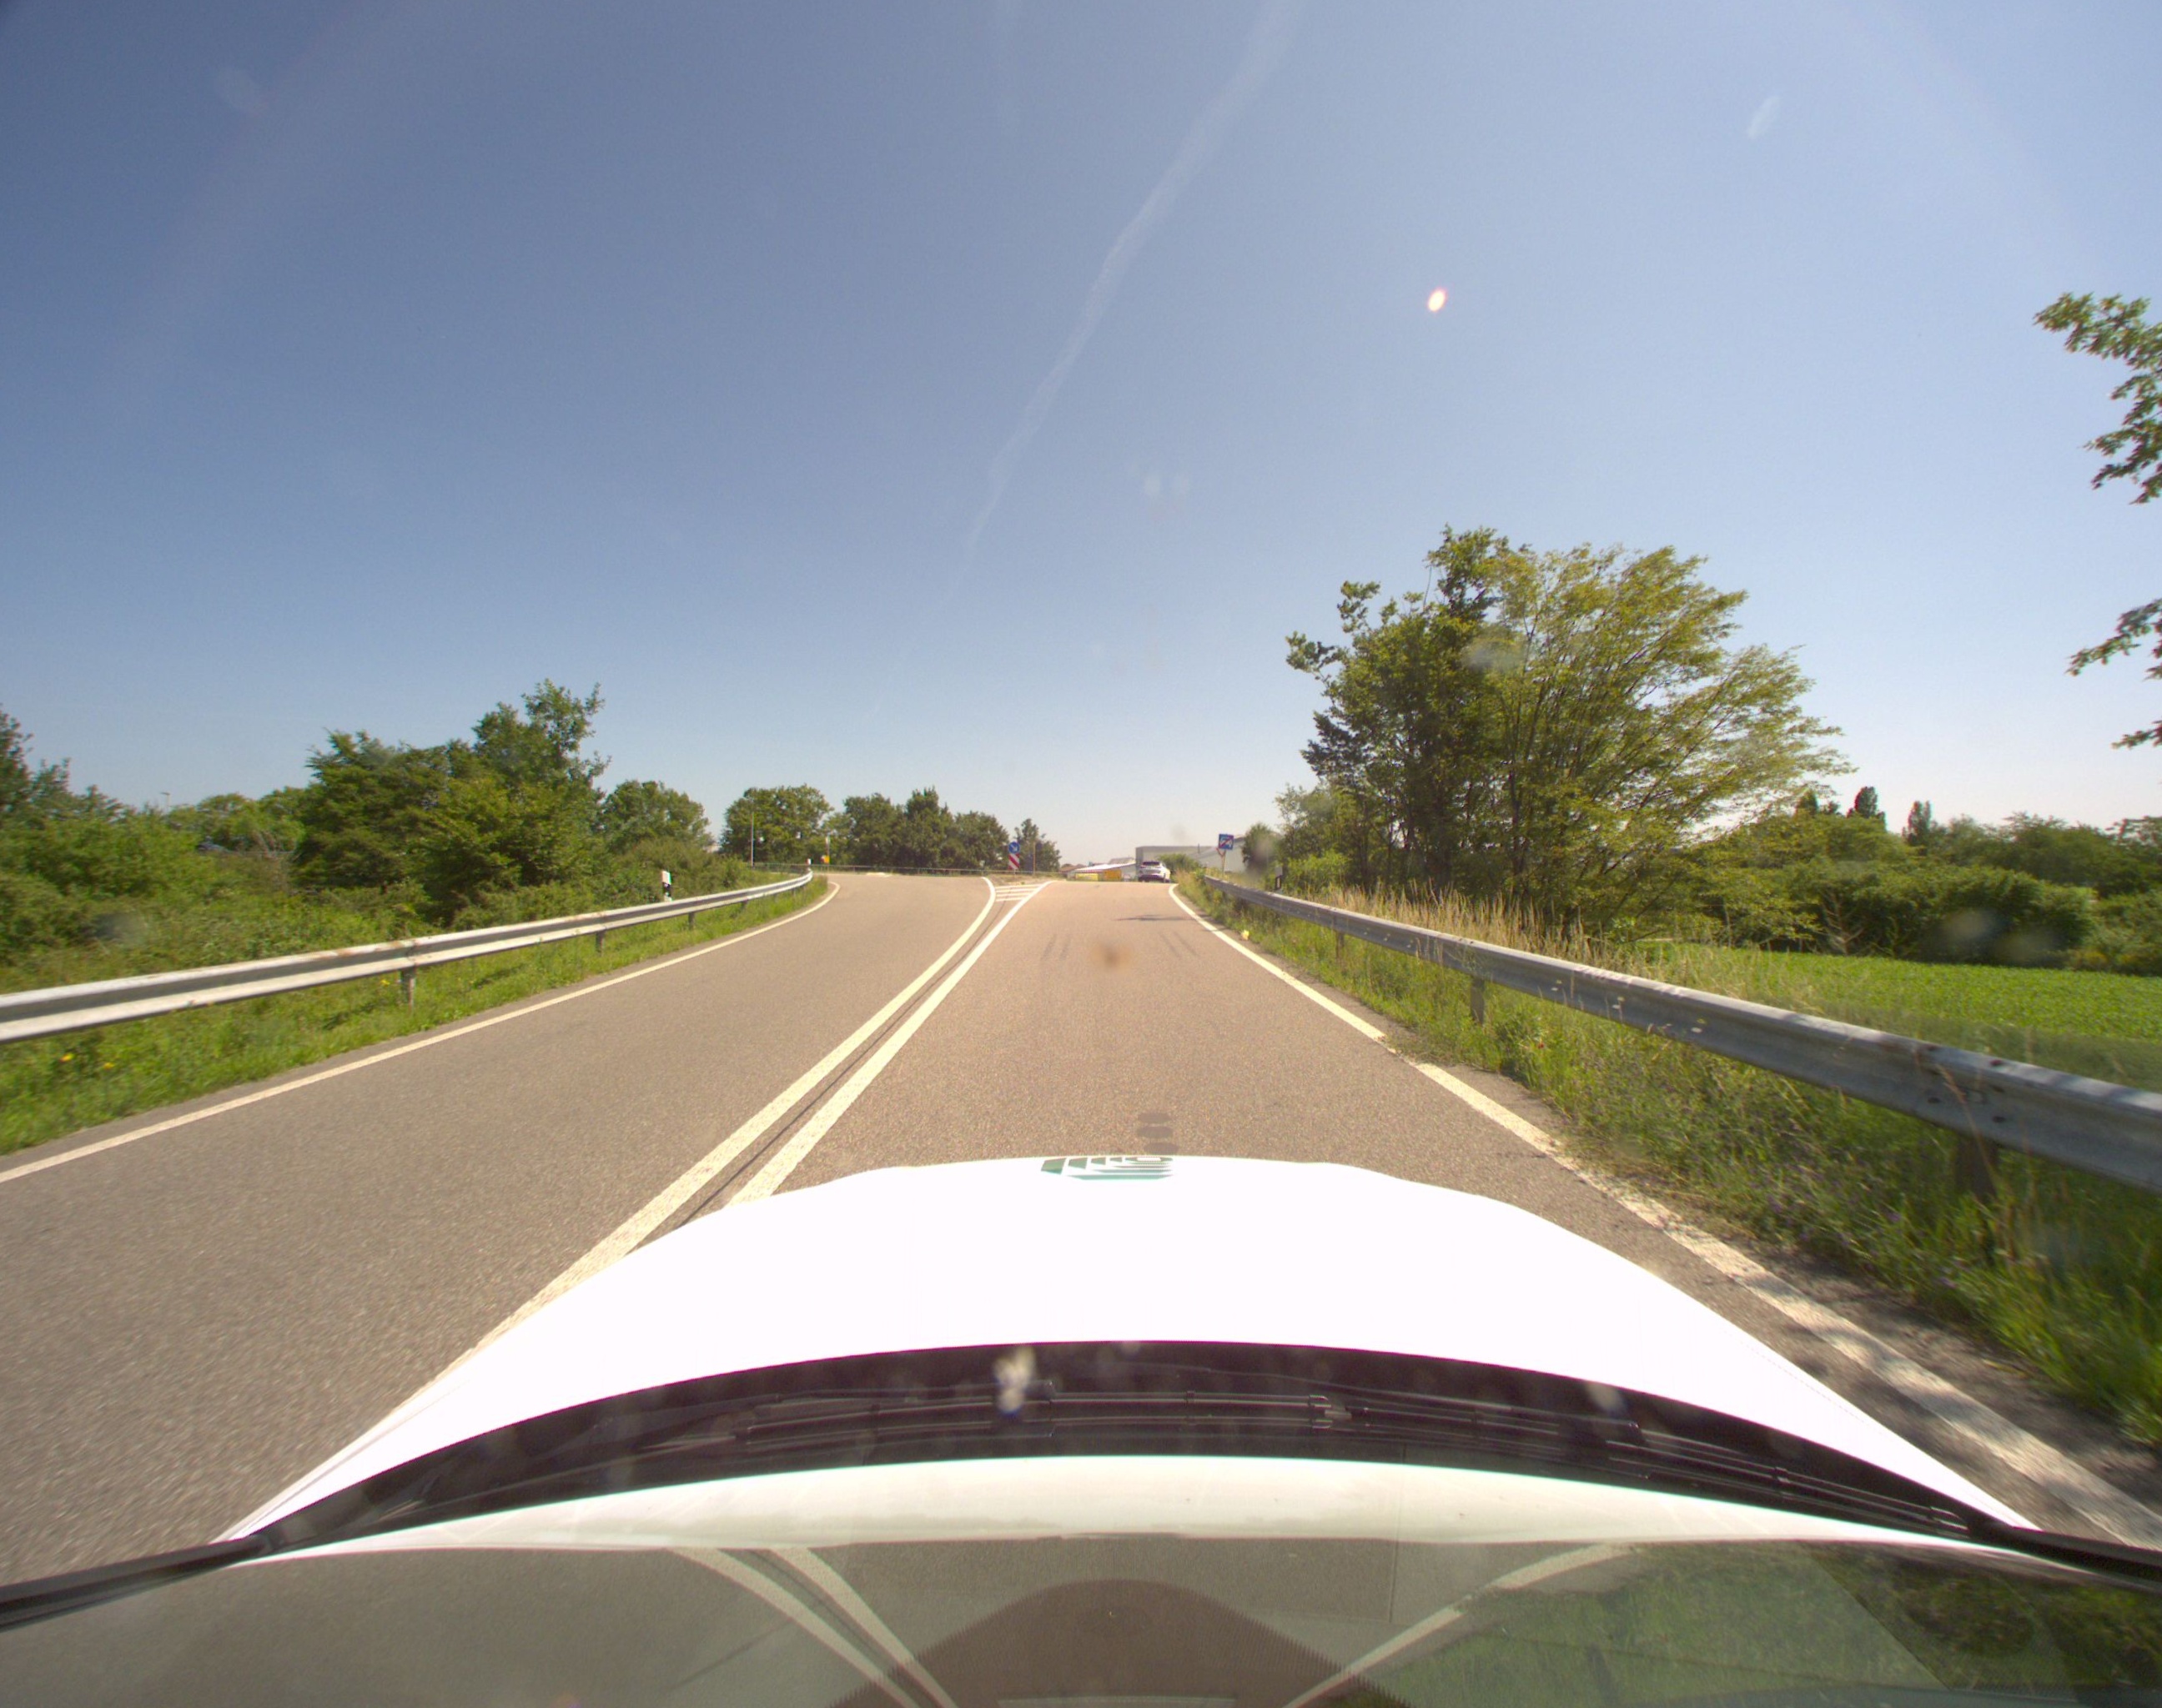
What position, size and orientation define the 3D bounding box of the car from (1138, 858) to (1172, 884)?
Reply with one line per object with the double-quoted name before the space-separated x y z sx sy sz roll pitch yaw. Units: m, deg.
"car" 5.214 1.203 56.964 1.796 1.691 4.013 -1 -2 12
